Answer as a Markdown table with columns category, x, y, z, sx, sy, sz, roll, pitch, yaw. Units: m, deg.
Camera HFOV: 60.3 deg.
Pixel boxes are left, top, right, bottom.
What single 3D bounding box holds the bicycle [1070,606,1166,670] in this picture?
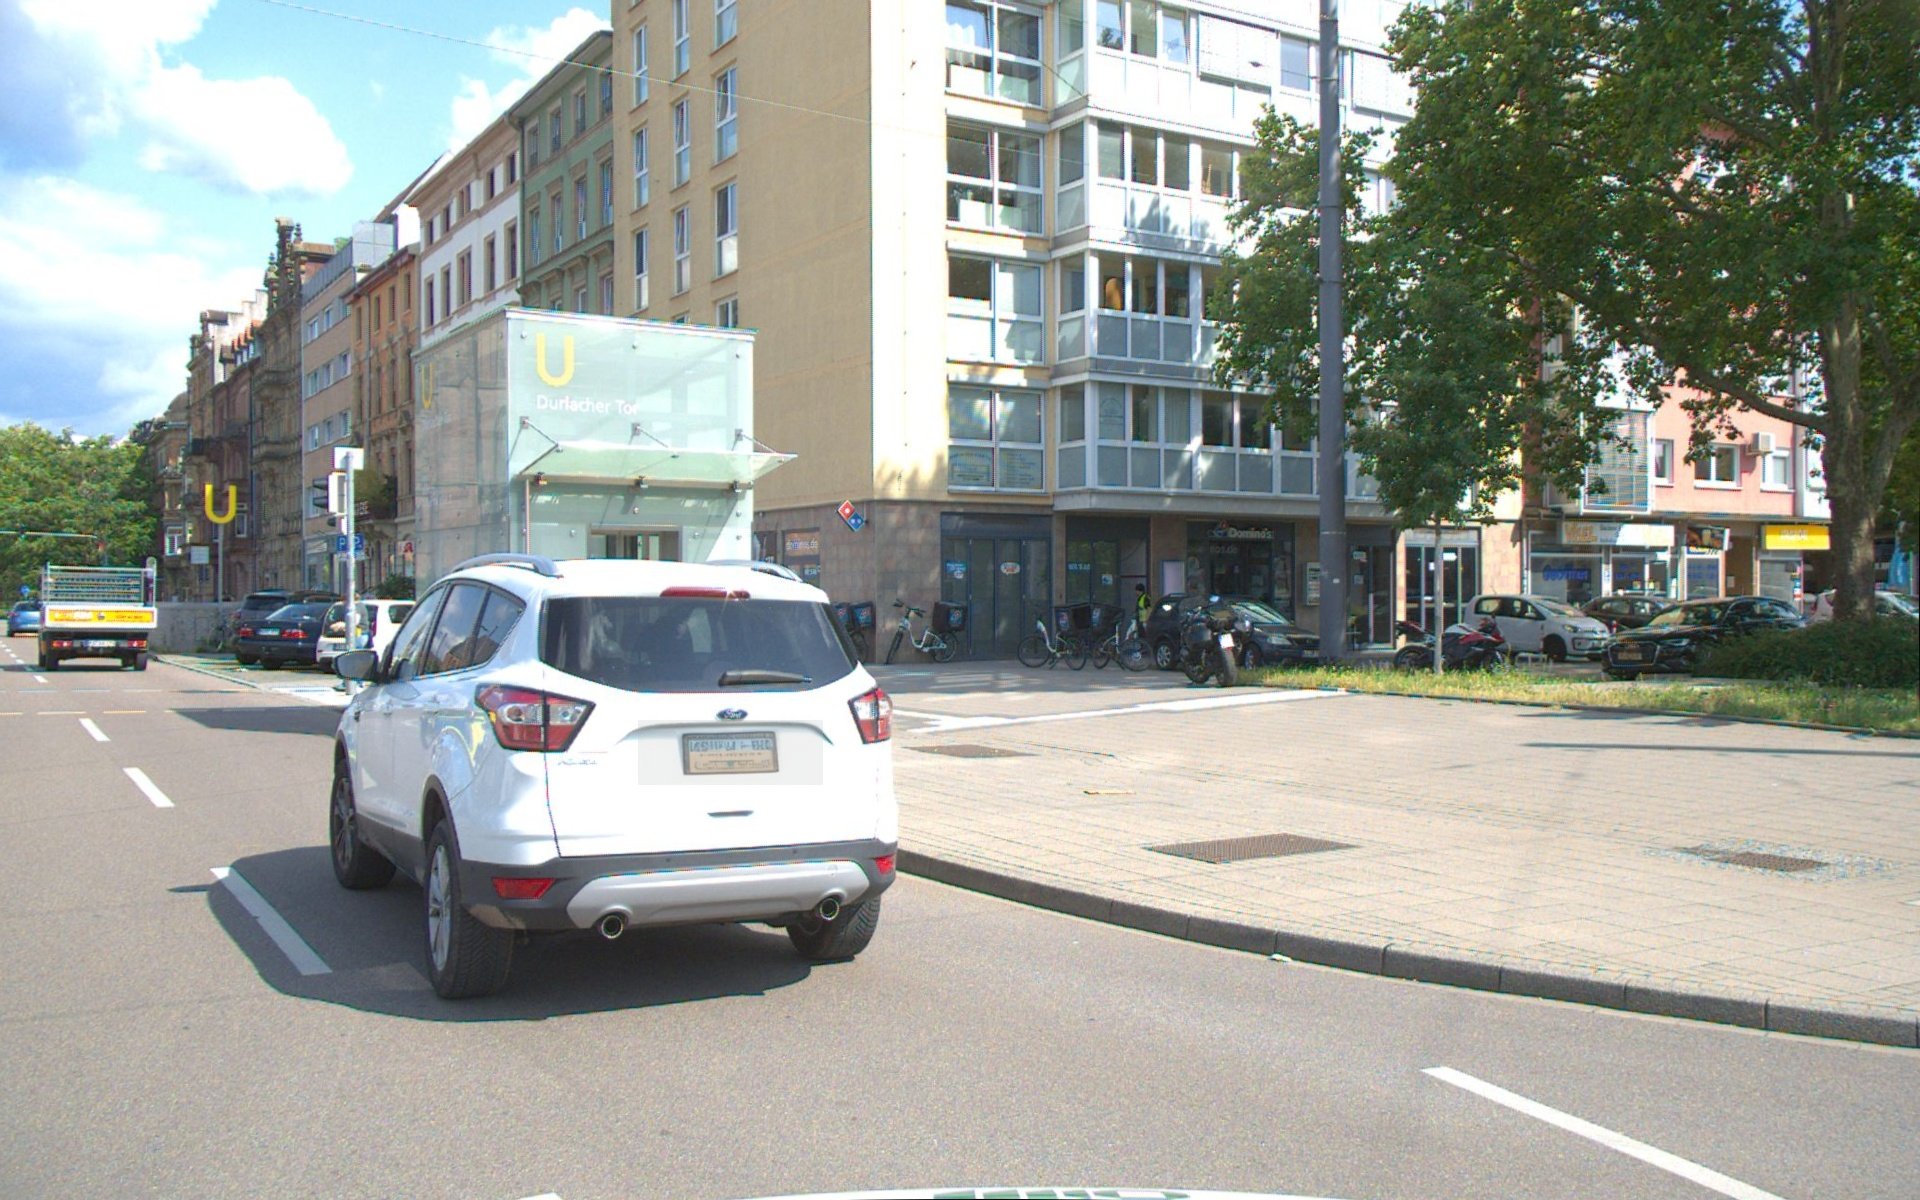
| category | x | y | z | sx | sy | sz | roll | pitch | yaw |
| --- | --- | --- | --- | --- | --- | --- | --- | --- | --- |
| bicycle | 3.035 | 0.718 | 31.913 | 0.788 | 1.167 | 1.924 | 0 | 1 | -36 |

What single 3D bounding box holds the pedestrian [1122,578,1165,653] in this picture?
| category | x | y | z | sx | sy | sz | roll | pitch | yaw |
| --- | --- | --- | --- | --- | --- | --- | --- | --- | --- |
| pedestrian | 4.118 | 0.345 | 37.152 | 0.839 | 1.636 | 0.832 | 1 | 2 | -1 |

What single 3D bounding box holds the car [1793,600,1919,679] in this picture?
| category | x | y | z | sx | sy | sz | roll | pitch | yaw |
| --- | --- | --- | --- | --- | --- | --- | --- | --- | --- |
| car | 16.957 | 0.701 | 29.269 | 1.604 | 1.350 | 3.976 | 1 | -1 | -20 |

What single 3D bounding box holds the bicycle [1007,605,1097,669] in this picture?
| category | x | y | z | sx | sy | sz | roll | pitch | yaw |
| --- | --- | --- | --- | --- | --- | --- | --- | --- | --- |
| bicycle | 1.747 | 0.693 | 31.735 | 0.788 | 1.167 | 1.786 | 0 | 1 | -36 |

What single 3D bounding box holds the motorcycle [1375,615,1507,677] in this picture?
| category | x | y | z | sx | sy | sz | roll | pitch | yaw |
| --- | --- | --- | --- | --- | --- | --- | --- | --- | --- |
| motorcycle | 7.755 | 0.744 | 26.648 | 1.995 | 0.933 | 0.811 | -1 | 0 | 18 |

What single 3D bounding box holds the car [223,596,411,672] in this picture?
| category | x | y | z | sx | sy | sz | roll | pitch | yaw |
| --- | --- | --- | --- | --- | --- | --- | --- | --- | --- |
| car | -13.885 | 0.714 | 35.954 | 1.853 | 1.523 | 3.902 | 1 | 0 | 15 |

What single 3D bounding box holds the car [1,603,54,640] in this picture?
| category | x | y | z | sx | sy | sz | roll | pitch | yaw |
| --- | --- | --- | --- | --- | --- | --- | --- | --- | --- |
| car | -38.243 | 0.866 | 67.793 | 1.720 | 1.400 | 3.955 | 0 | 1 | -33 |

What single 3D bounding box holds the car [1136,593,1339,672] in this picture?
| category | x | y | z | sx | sy | sz | roll | pitch | yaw |
| --- | --- | --- | --- | --- | --- | --- | --- | --- | --- |
| car | 5.329 | 0.585 | 32.154 | 1.652 | 1.422 | 3.953 | 1 | 0 | -34 |

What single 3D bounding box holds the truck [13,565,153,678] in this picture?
| category | x | y | z | sx | sy | sz | roll | pitch | yaw |
| --- | --- | --- | --- | --- | --- | --- | --- | --- | --- |
| truck | -18.693 | 0.413 | 35.112 | 2.316 | 2.193 | 5.789 | 0 | 0 | -31 |

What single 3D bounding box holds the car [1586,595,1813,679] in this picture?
| category | x | y | z | sx | sy | sz | roll | pitch | yaw |
| --- | --- | --- | --- | --- | --- | --- | --- | --- | --- |
| car | 13.454 | 0.673 | 30.072 | 3.946 | 1.438 | 1.892 | 1 | -1 | -31 |

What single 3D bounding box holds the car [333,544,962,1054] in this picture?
| category | x | y | z | sx | sy | sz | roll | pitch | yaw |
| --- | --- | --- | --- | --- | --- | --- | --- | --- | --- |
| car | -1.695 | 0.665 | 7.666 | 1.806 | 1.693 | 3.919 | 1 | 0 | -28 |

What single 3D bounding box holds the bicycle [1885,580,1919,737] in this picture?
| category | x | y | z | sx | sy | sz | roll | pitch | yaw |
| --- | --- | --- | --- | --- | --- | --- | --- | --- | --- |
| bicycle | 9.609 | 0.547 | 14.864 | 0.802 | 1.439 | 2.150 | -1 | 2 | -33 |

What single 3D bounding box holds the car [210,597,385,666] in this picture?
| category | x | y | z | sx | sy | sz | roll | pitch | yaw |
| --- | --- | --- | --- | --- | --- | --- | --- | --- | --- |
| car | -15.527 | 0.713 | 38.985 | 1.853 | 1.523 | 3.902 | 1 | 0 | 15 |

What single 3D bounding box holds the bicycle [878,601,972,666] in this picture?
| category | x | y | z | sx | sy | sz | roll | pitch | yaw |
| --- | --- | --- | --- | --- | --- | --- | --- | --- | --- |
| bicycle | -0.713 | 0.670 | 33.944 | 1.779 | 1.280 | 0.791 | 0 | 0 | -23 |

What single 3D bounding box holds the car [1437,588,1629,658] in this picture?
| category | x | y | z | sx | sy | sz | roll | pitch | yaw |
| --- | --- | --- | --- | --- | --- | --- | --- | --- | --- |
| car | 13.190 | 0.500 | 38.262 | 1.781 | 1.521 | 3.954 | 0 | 0 | -33 |

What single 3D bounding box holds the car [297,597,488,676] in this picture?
| category | x | y | z | sx | sy | sz | roll | pitch | yaw |
| --- | --- | --- | --- | --- | --- | --- | --- | --- | --- |
| car | -11.765 | 0.735 | 34.550 | 1.853 | 1.523 | 3.902 | 1 | 0 | 16 |

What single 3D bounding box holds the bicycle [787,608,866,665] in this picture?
| category | x | y | z | sx | sy | sz | roll | pitch | yaw |
| --- | --- | --- | --- | --- | --- | --- | --- | --- | --- |
| bicycle | -2.776 | 0.731 | 34.286 | 0.788 | 1.123 | 1.785 | 0 | 1 | -37 |

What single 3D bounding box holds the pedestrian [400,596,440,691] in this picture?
| category | x | y | z | sx | sy | sz | roll | pitch | yaw |
| --- | --- | --- | --- | --- | --- | --- | --- | --- | --- |
| pedestrian | -9.108 | 0.728 | 27.897 | 0.547 | 1.561 | 0.693 | 0 | -1 | -27 |

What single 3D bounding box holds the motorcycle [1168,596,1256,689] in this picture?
| category | x | y | z | sx | sy | sz | roll | pitch | yaw |
| --- | --- | --- | --- | --- | --- | --- | --- | --- | --- |
| motorcycle | 3.626 | 0.588 | 23.971 | 0.884 | 1.259 | 2.218 | -1 | 0 | -1 |
